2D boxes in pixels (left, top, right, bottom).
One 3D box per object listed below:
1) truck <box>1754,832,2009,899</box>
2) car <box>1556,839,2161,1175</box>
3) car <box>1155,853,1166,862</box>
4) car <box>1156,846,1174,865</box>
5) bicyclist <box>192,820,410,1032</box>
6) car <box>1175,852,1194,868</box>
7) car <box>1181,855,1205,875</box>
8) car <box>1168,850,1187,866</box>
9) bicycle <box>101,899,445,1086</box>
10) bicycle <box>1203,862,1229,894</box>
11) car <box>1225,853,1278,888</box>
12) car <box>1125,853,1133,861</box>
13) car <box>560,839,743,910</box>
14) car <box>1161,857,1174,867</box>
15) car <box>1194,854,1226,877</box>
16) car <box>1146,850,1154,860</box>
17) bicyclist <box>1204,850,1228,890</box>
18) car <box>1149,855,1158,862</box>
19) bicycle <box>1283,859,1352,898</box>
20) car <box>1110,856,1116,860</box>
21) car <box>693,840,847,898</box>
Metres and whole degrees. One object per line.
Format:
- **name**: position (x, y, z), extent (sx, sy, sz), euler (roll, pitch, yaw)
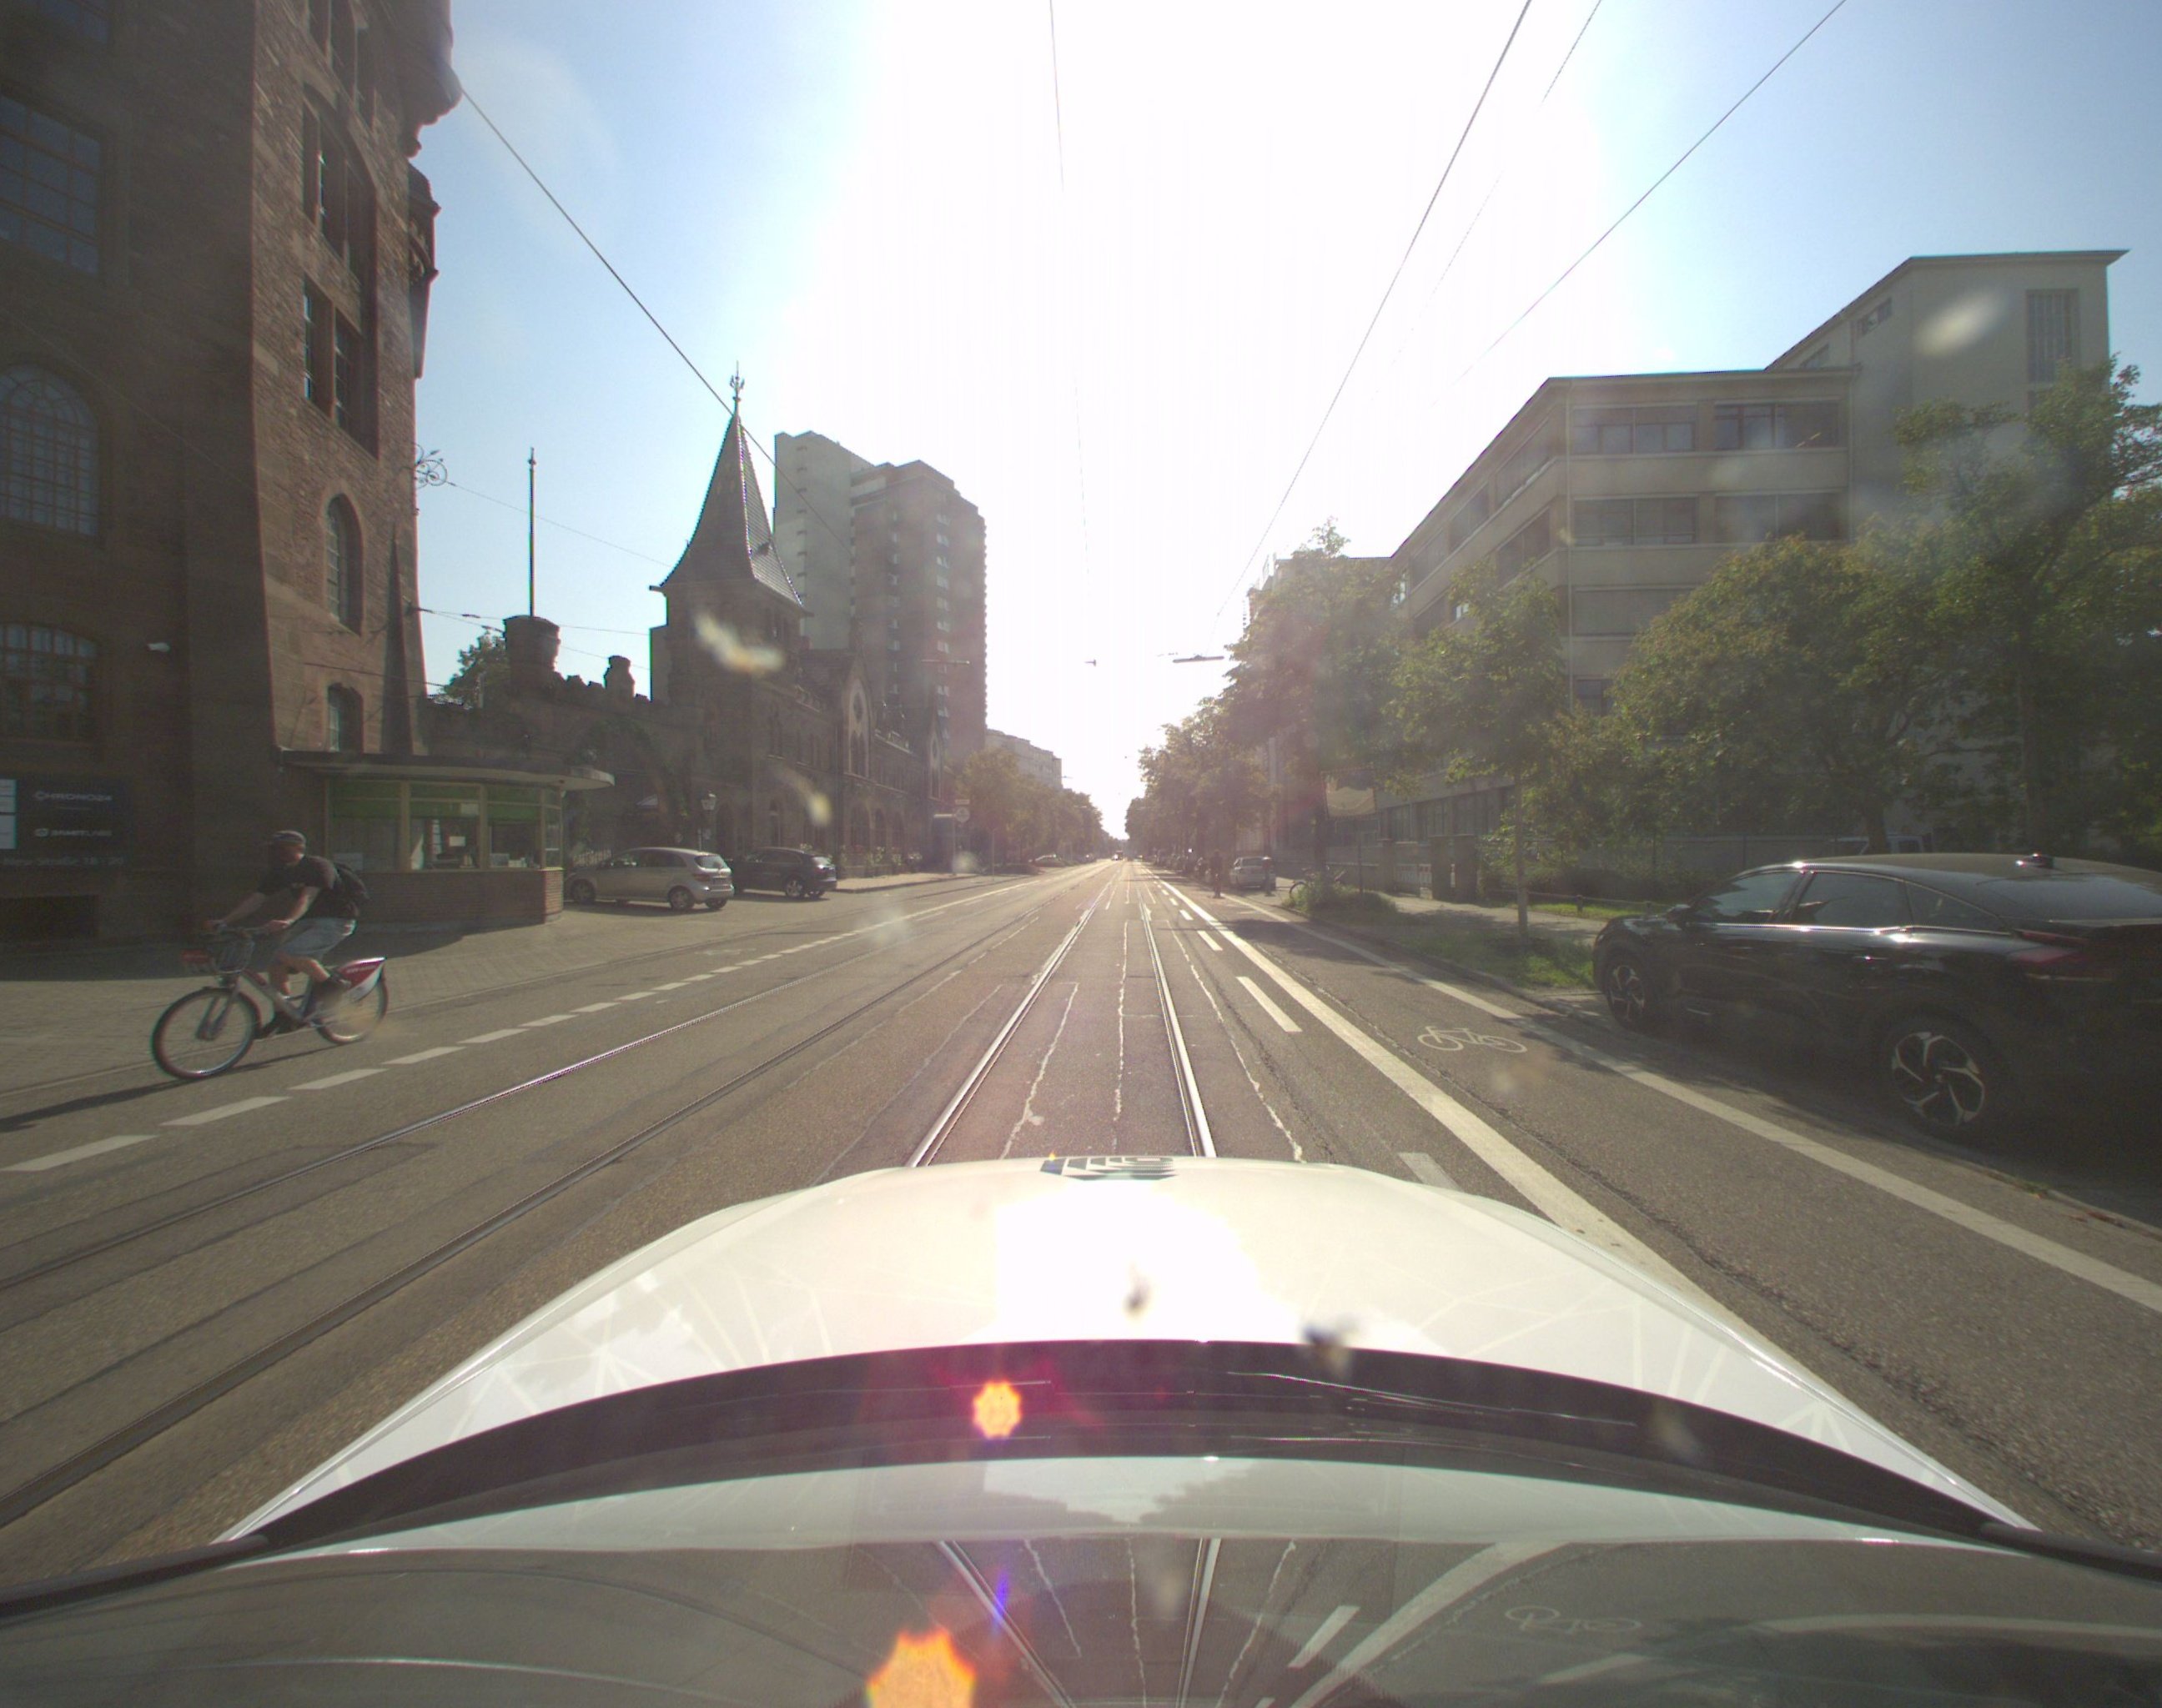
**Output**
- **truck**: position (27.600, 0.405, 28.291), extent (6.537, 2.215, 2.123), euler (0, 0, 3)
- **car**: position (5.559, 0.678, 5.919), extent (1.734, 1.486, 4.440), euler (-2, 0, 2)
- **car**: position (13.631, 0.576, 139.898), extent (1.746, 1.377, 4.723), euler (-2, 0, 4)
- **car**: position (12.455, 0.248, 121.010), extent (2.074, 2.552, 5.504), euler (-4, -1, 2)
- **bicyclist**: position (-6.376, 0.550, 6.728), extent (0.694, 1.580, 1.087), euler (-2, -1, 1)
- **car**: position (10.126, 0.568, 79.571), extent (1.569, 1.485, 3.742), euler (-2, 0, 4)
- **car**: position (9.150, 0.911, 66.708), extent (1.639, 1.511, 3.782), euler (-2, 0, 4)
- **car**: position (10.622, 0.418, 89.640), extent (1.747, 1.691, 4.398), euler (0, 0, 2)
- **bicycle**: position (-6.350, 1.007, 6.612), extent (0.694, 1.158, 2.038), euler (-2, 0, 1)
- **bicycle**: position (5.019, 0.877, 30.310), extent (0.783, 1.144, 2.308), euler (0, 0, 5)
- **car**: position (7.575, 0.710, 36.531), extent (1.634, 1.430, 3.990), euler (-1, -1, 2)
- **car**: position (12.187, 0.799, 205.921), extent (1.984, 1.838, 4.005), euler (0, 0, 5)
- **car**: position (-11.454, 0.522, 21.862), extent (3.880, 1.596, 1.825), euler (3, 0, 5)
- **car**: position (11.682, 1.062, 110.467), extent (1.609, 1.374, 4.832), euler (-1, 0, 4)
- **car**: position (8.668, 0.743, 55.016), extent (1.639, 1.428, 4.087), euler (-1, 0, 2)
- **car**: position (18.139, 0.281, 215.233), extent (1.995, 2.491, 4.481), euler (-1, -2, 4)
- **bicyclist**: position (5.022, 0.598, 30.304), extent (0.783, 1.470, 1.117), euler (0, -1, 5)
- **car**: position (15.424, 0.891, 173.455), extent (1.682, 1.418, 3.638), euler (0, 0, 4)
- **bicycle**: position (6.962, 0.720, 24.031), extent (1.762, 1.064, 0.796), euler (-2, -1, 1)
- **car**: position (9.362, 1.139, 236.469), extent (1.821, 1.376, 4.515), euler (0, 0, 3)
- **car**: position (-10.470, 0.502, 27.654), extent (4.382, 1.645, 1.957), euler (3, 0, 0)
